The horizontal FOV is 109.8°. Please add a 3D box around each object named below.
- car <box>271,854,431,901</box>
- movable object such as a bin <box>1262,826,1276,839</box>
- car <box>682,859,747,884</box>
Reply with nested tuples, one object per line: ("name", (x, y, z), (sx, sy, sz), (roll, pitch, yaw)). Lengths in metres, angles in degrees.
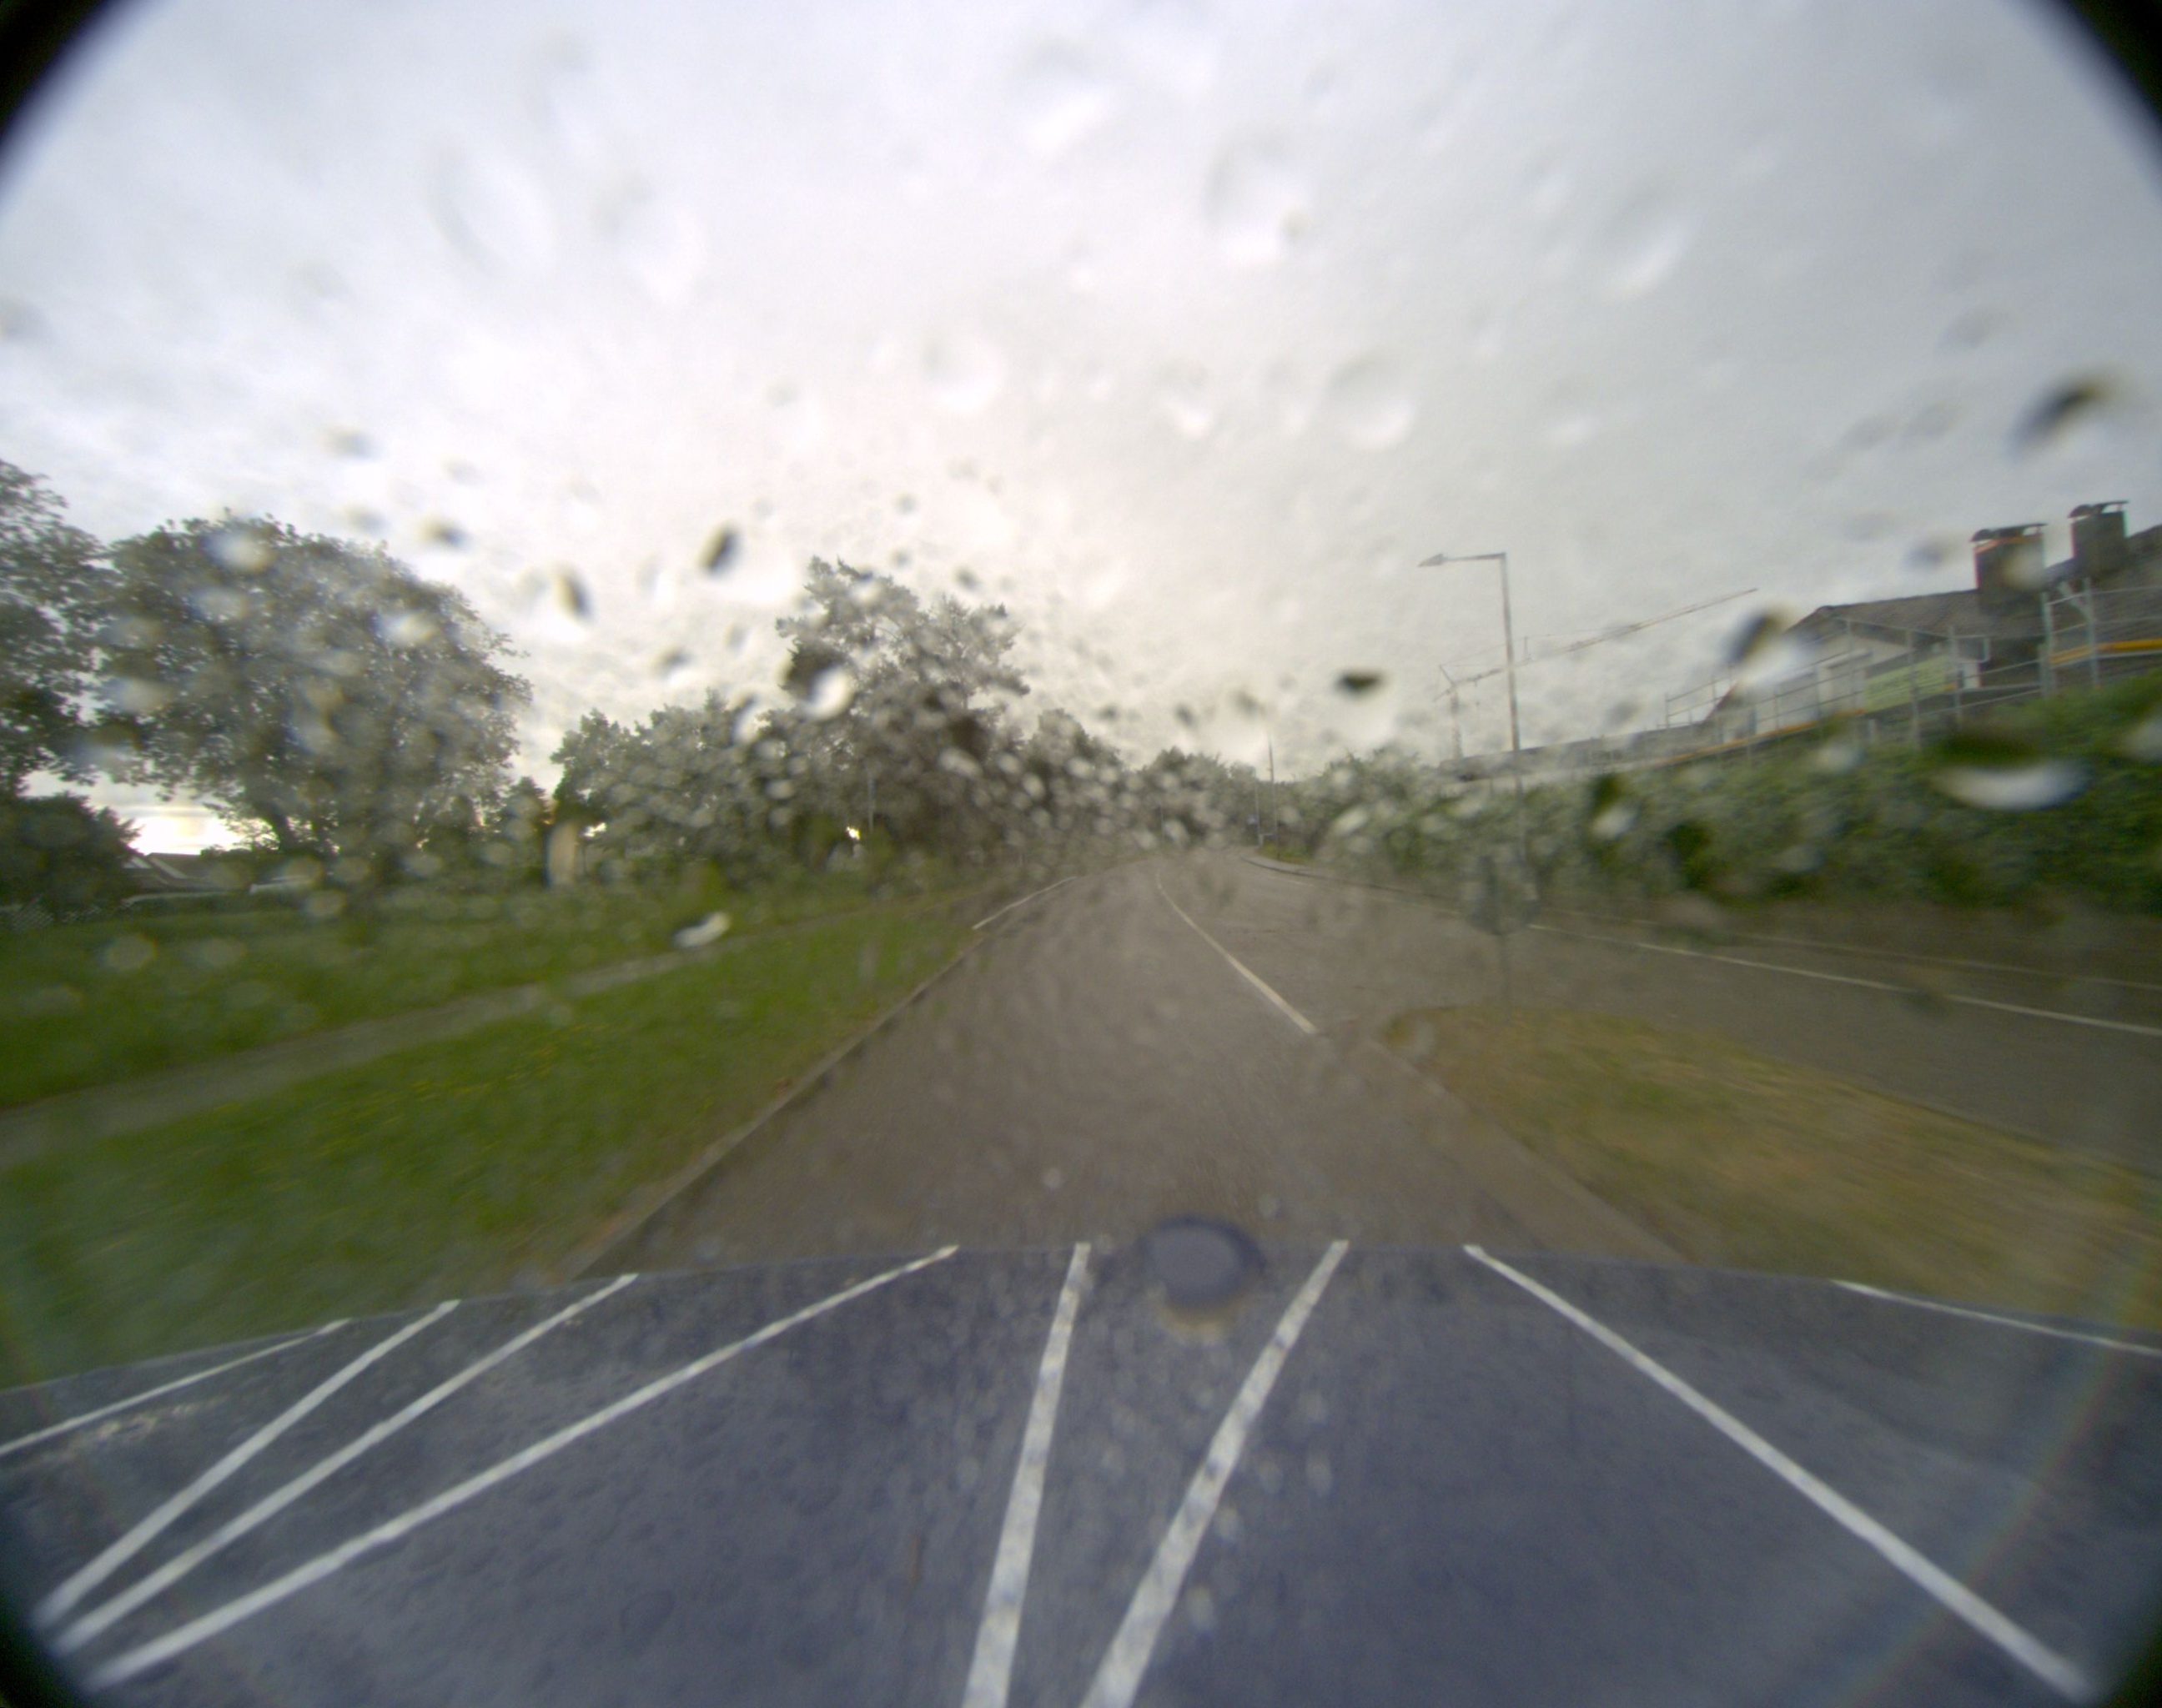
("car", (-43.211, 1.375, 45.149), (6.684, 2.483, 2.613), (-2, -1, -5))
("movable object such as a bin", (20.588, -2.324, 83.084), (1.133, 1.314, 1.364), (-7, -1, 21))
("car", (-25.768, 1.226, 53.566), (1.828, 1.642, 4.006), (-2, -2, 18))
